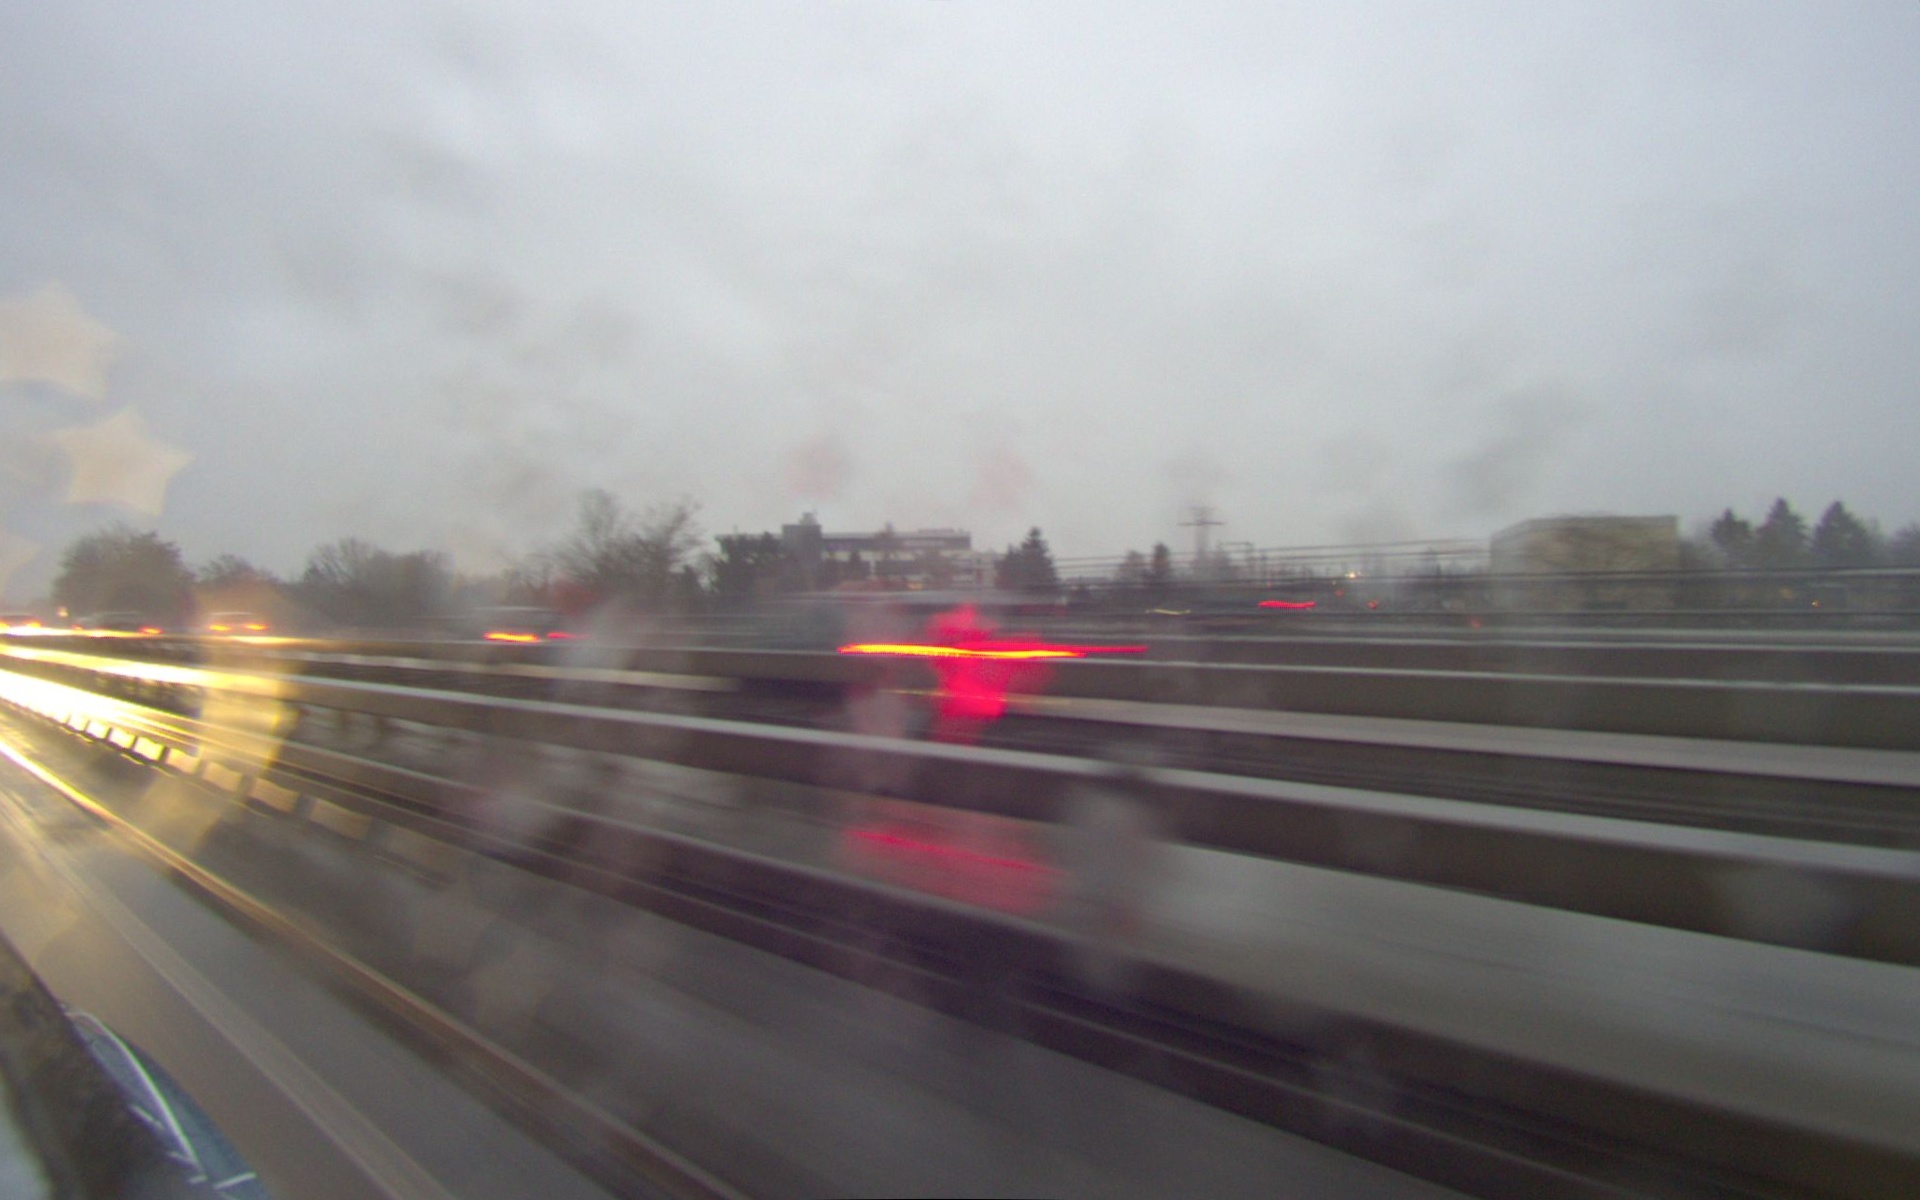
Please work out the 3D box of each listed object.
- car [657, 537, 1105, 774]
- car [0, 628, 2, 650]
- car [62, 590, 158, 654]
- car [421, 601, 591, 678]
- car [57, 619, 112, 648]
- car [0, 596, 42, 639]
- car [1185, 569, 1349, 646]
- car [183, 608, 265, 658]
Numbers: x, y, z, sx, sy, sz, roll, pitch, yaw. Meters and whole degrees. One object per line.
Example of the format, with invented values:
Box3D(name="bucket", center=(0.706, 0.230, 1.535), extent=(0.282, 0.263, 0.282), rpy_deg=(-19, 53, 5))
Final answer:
Box3D(name="car", center=(-0.877, 0.431, 9.504), extent=(3.999, 1.741, 1.972), rpy_deg=(-1, 0, 42))
Box3D(name="car", center=(-67.564, 2.739, 69.701), extent=(4.371, 1.513, 1.944), rpy_deg=(-2, -1, 42))
Box3D(name="car", center=(-29.633, 0.765, 35.246), extent=(4.371, 2.068, 1.944), rpy_deg=(-2, -1, 42))
Box3D(name="car", center=(-10.195, 0.837, 22.577), extent=(4.198, 1.535, 1.947), rpy_deg=(-2, -1, 42))
Box3D(name="car", center=(-50.738, 1.943, 58.631), extent=(3.920, 1.578, 1.836), rpy_deg=(-2, -2, 41))
Box3D(name="car", center=(-50.449, 0.947, 53.786), extent=(4.460, 2.164, 2.059), rpy_deg=(-2, -1, 42))
Box3D(name="car", center=(8.698, 0.227, 28.855), extent=(3.998, 2.029, 1.973), rpy_deg=(-1, 0, 41))
Box3D(name="car", center=(-28.420, 1.253, 39.050), extent=(3.998, 1.829, 1.724), rpy_deg=(-2, -1, 41))
